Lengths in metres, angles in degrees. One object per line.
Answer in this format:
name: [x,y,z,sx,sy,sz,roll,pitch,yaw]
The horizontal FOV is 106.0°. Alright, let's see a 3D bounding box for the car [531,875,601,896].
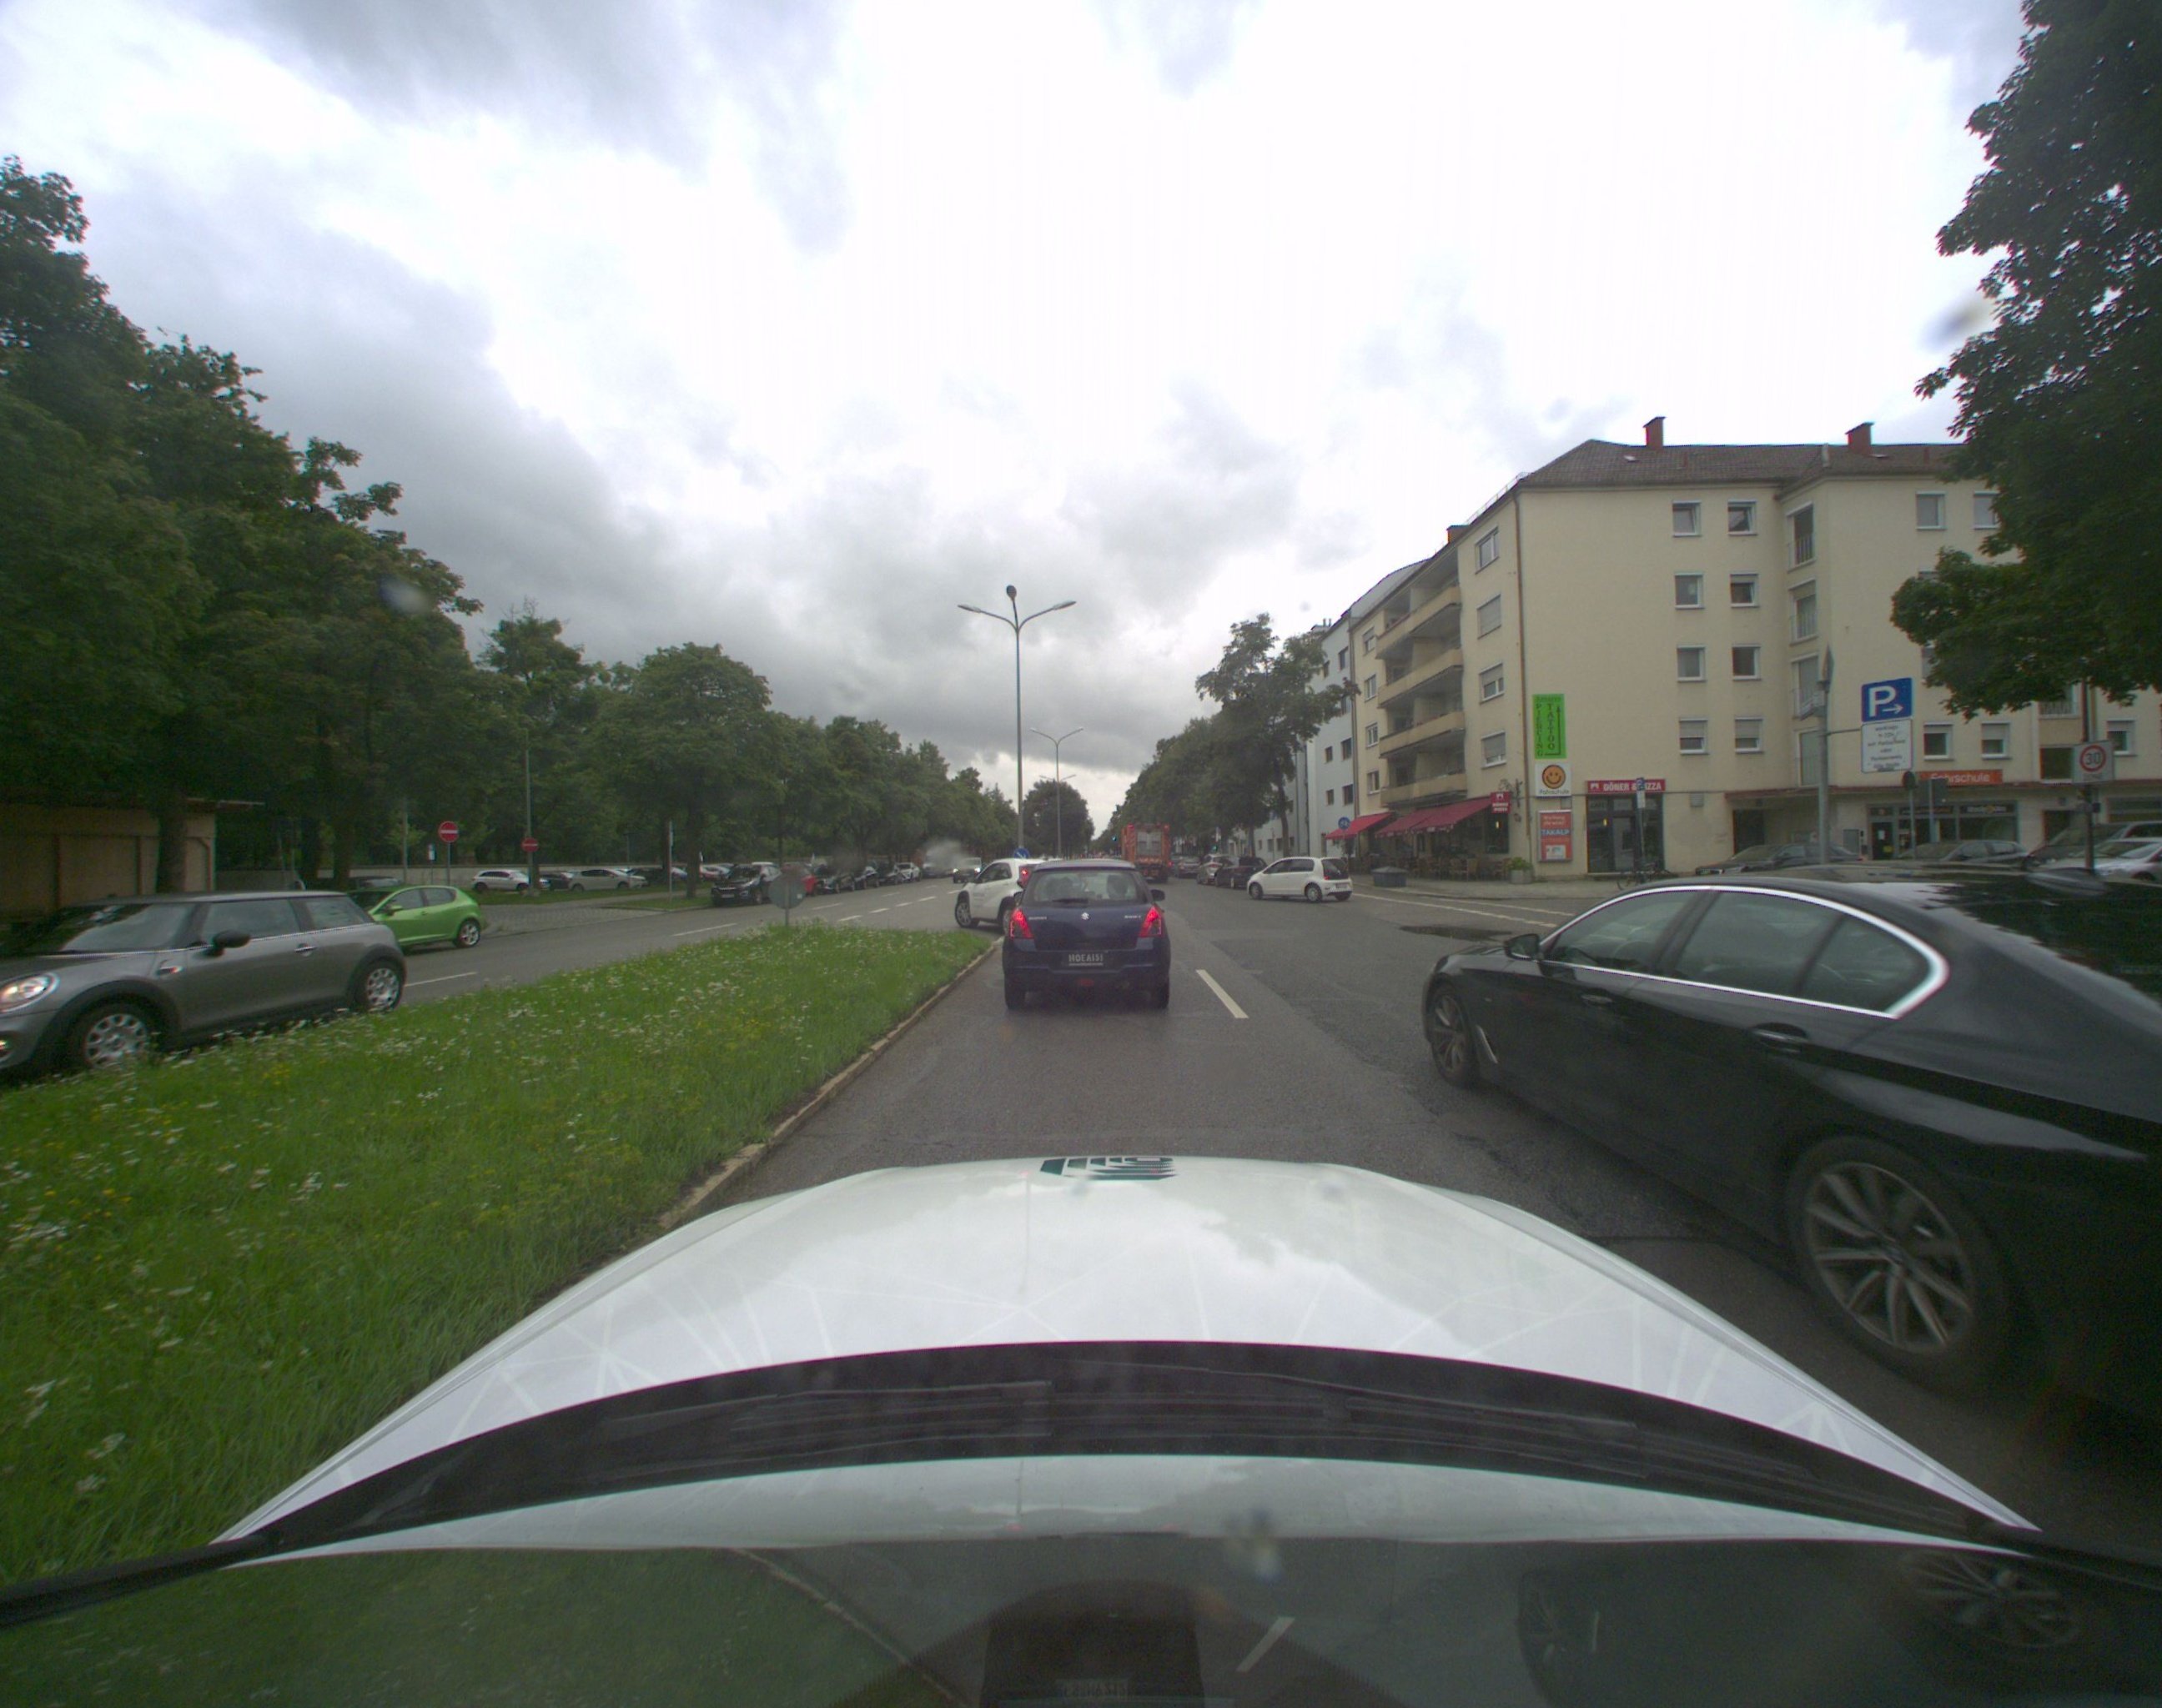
car: [-37.648,2.315,59.566,3.967,1.372,1.881,-2,0,5]

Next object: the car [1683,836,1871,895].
car: [19.687,0.312,23.149,3.913,1.519,1.730,-1,0,-1]

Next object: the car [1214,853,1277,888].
car: [7.384,0.711,36.892,1.826,1.473,3.883,-1,0,-4]

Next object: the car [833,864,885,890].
car: [-13.421,1.368,49.447,1.814,1.409,4.003,-3,0,3]

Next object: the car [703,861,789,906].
car: [-13.805,1.197,33.843,1.816,1.700,4.238,-1,-1,0]

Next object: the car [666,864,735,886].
car: [-27.219,1.495,58.399,3.980,1.442,1.997,-1,0,-5]

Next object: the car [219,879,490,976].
car: [-14.164,1.345,16.246,1.634,1.499,4.002,-3,0,2]

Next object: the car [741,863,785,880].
car: [-38.444,2.103,98.438,4.490,2.034,2.000,-1,0,0]

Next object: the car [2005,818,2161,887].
car: [30.493,-0.074,23.715,4.968,1.885,1.999,-1,0,-1]

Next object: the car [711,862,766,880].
car: [-29.690,1.495,70.703,3.980,1.442,1.997,-1,0,-5]

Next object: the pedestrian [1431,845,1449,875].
pedestrian: [16.525,0.273,37.488,0.536,1.339,0.552,-1,0,0]

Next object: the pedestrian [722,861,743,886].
pedestrian: [-21.004,1.157,49.075,0.792,1.495,0.856,-2,0,2]

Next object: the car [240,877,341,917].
car: [-30.489,1.631,31.391,3.809,1.409,1.871,-1,0,31]

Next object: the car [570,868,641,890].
car: [-38.541,2.001,66.076,4.490,1.625,2.000,-1,0,0]

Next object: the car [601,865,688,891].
car: [-26.220,1.439,49.031,4.123,1.442,1.999,-1,0,-2]

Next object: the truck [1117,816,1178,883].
truck: [3.851,-0.239,50.492,3.030,3.557,13.680,-1,0,2]

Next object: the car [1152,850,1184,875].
car: [6.384,0.635,60.040,1.823,1.746,4.507,-1,0,0]

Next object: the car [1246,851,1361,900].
car: [7.309,0.686,26.994,1.699,1.490,3.398,-1,0,-34]

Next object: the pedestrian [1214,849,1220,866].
pedestrian: [14.045,0.393,84.170,0.498,1.733,0.733,-3,0,1]

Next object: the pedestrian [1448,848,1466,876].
pedestrian: [16.294,0.339,35.325,0.536,1.214,0.487,-1,0,1]

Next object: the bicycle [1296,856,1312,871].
bicycle: [16.333,0.682,59.642,0.619,1.046,2.196,-1,0,1]

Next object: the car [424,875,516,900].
car: [-39.405,2.162,52.555,4.484,1.442,2.003,-1,0,5]

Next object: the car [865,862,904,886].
car: [-13.392,1.344,55.617,1.817,1.447,3.995,-3,0,-3]

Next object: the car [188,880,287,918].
car: [-34.713,1.820,33.494,4.411,1.409,1.871,-1,0,31]

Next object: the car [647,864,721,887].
car: [-26.787,1.441,55.035,3.980,1.442,1.997,-1,0,-5]

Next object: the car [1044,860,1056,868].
car: [-5.725,1.842,150.174,1.809,1.448,4.782,-2,0,0]

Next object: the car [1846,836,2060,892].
car: [24.703,0.263,23.184,3.975,1.442,1.999,-1,0,-1]

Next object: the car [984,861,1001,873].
car: [-11.961,1.742,110.181,1.881,1.537,4.313,-4,0,-1]

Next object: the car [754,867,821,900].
car: [-13.989,1.372,39.071,1.816,1.479,3.809,-1,-1,0]

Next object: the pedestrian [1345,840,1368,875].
pedestrian: [15.130,0.193,44.729,0.870,1.929,0.757,-1,0,-15]

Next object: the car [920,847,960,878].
car: [-12.914,0.697,75.215,2.132,2.643,7.107,-3,0,1]

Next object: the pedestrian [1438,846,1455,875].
pedestrian: [16.365,0.301,36.468,0.536,1.268,0.487,-1,0,0]

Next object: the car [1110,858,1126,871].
car: [4.433,1.231,97.908,1.823,1.522,3.770,-1,0,0]

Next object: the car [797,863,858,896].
car: [-13.556,1.319,43.773,1.814,1.599,4.115,-2,0,2]

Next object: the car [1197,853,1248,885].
car: [7.188,0.730,41.836,1.823,1.522,4.522,-1,0,0]

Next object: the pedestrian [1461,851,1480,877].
pedestrian: [16.216,0.427,33.920,0.536,1.054,0.487,-1,0,1]

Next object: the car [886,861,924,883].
car: [-13.153,1.344,61.079,1.816,1.527,4.298,-3,-1,0]

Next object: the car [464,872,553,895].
car: [-38.484,1.973,54.834,4.490,1.442,2.000,-1,0,0]

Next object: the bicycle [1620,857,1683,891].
bicycle: [17.629,0.627,25.174,1.532,1.011,0.554,-1,0,4]

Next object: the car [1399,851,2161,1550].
car: [3.231,0.746,3.687,1.815,1.477,4.691,1,0,1]

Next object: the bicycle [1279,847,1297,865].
bicycle: [16.239,0.150,63.969,0.700,1.407,2.593,-4,0,1]

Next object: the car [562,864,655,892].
car: [-26.644,1.348,46.031,3.980,1.442,1.997,-1,0,-5]

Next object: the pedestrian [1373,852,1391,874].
pedestrian: [16.042,0.463,43.428,0.741,1.163,0.647,-1,0,0]

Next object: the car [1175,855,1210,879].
car: [7.471,0.844,54.923,1.823,1.522,3.770,-1,0,0]

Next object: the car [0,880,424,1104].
car: [-8.183,1.033,7.215,1.714,1.382,3.763,-4,0,-3]

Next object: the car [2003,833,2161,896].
car: [25.941,0.224,20.068,4.195,1.442,2.000,-1,0,0]

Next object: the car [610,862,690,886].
car: [-27.298,1.249,51.685,3.980,1.442,1.997,-1,0,-5]

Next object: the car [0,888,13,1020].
car: [-14.413,1.280,8.022,1.815,1.631,4.457,-2,0,1]

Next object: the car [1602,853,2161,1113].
car: [6.365,0.751,6.726,1.638,1.477,3.957,-1,0,1]

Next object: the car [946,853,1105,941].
car: [-1.254,0.794,16.692,1.833,1.553,3.685,-1,0,-29]

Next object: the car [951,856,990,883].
car: [-7.197,0.996,53.658,1.815,1.589,4.502,-1,0,1]

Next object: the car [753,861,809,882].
car: [-24.909,1.443,67.690,3.971,1.570,1.816,-2,0,2]

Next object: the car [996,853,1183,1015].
car: [0.144,0.764,9.739,1.746,1.505,4.002,-1,0,2]
